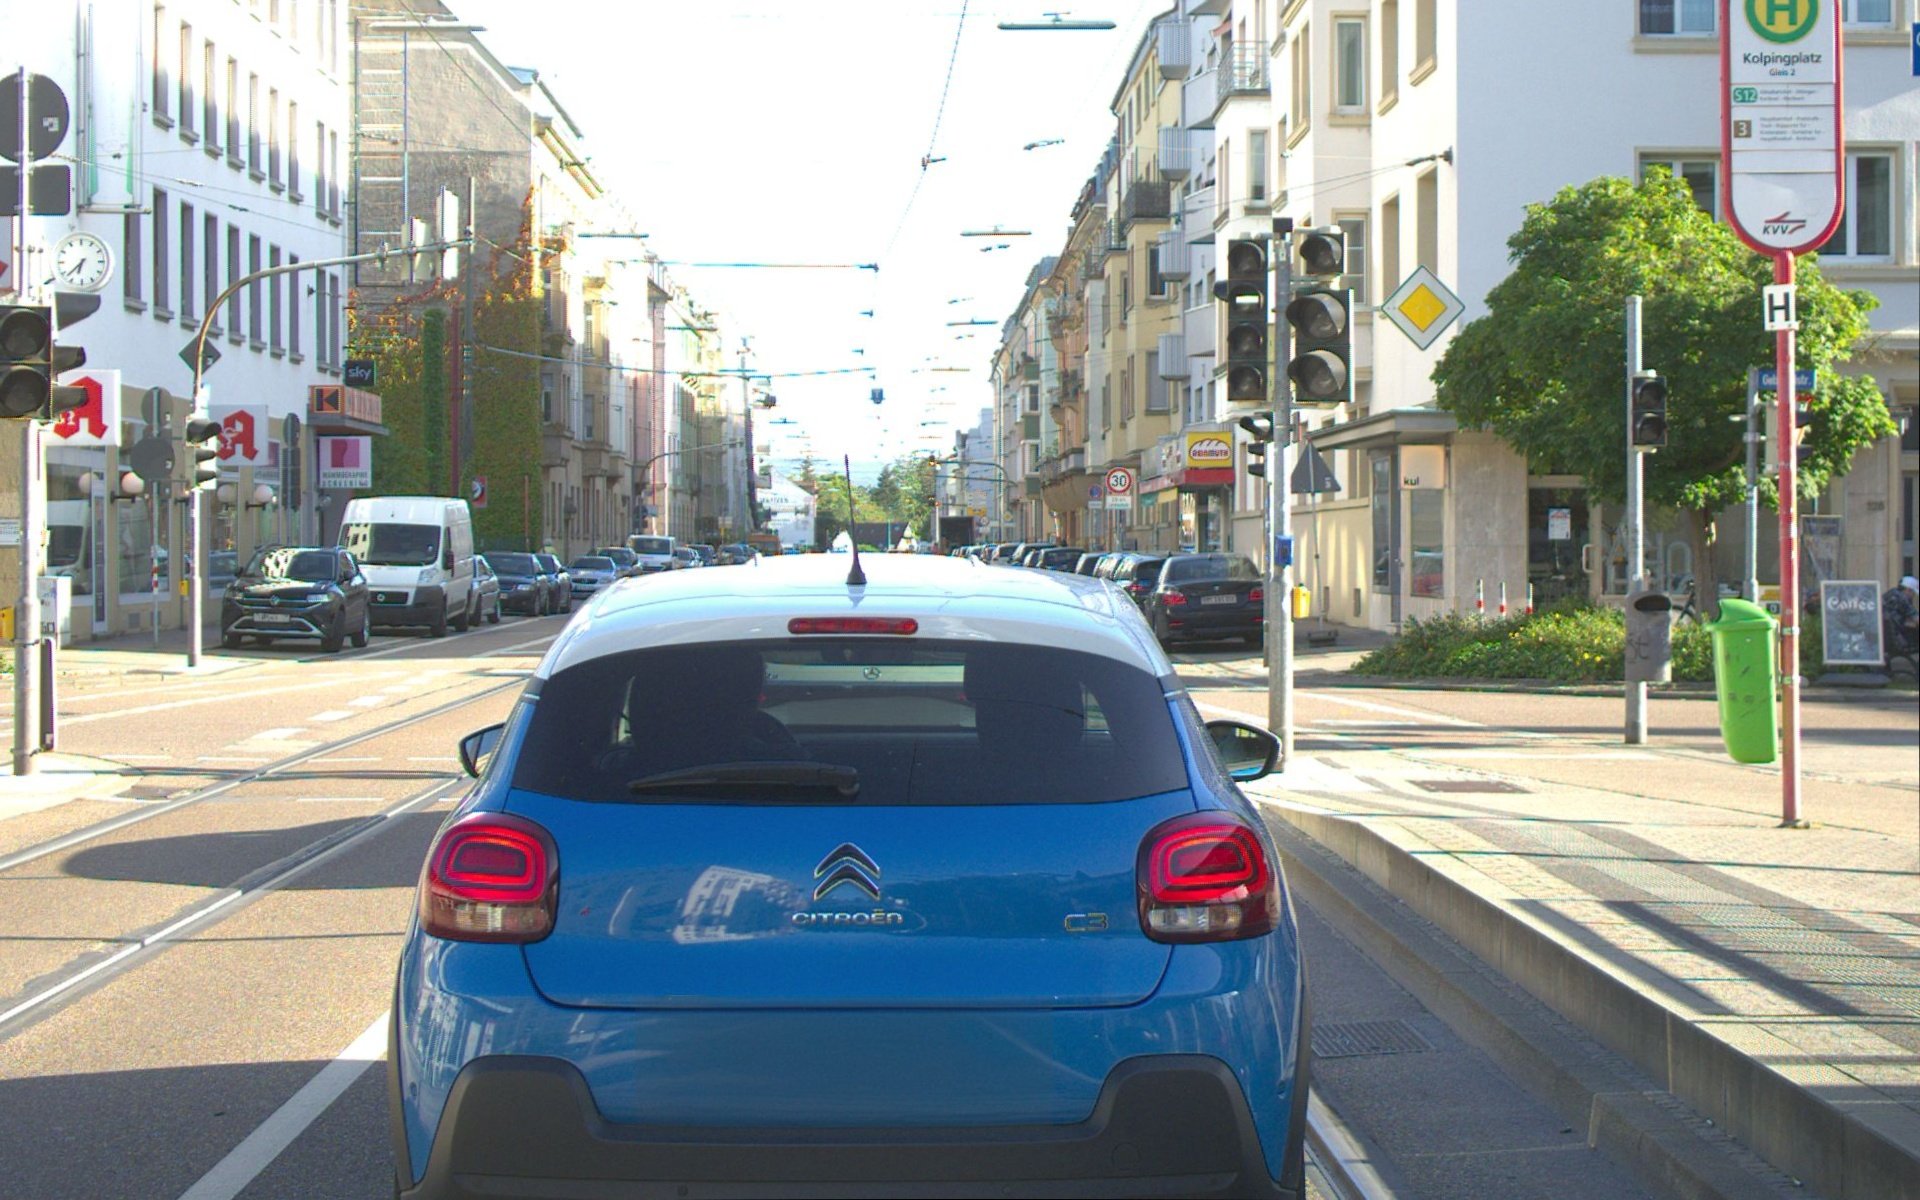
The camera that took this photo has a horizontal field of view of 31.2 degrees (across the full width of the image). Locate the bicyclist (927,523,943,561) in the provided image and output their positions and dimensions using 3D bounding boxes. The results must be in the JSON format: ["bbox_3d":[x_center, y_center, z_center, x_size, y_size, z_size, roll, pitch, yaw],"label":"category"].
[{"bbox_3d":[-1.327,-3.088,183.715,0.809,2.007,0.922,1,0,-2],"label":"bicyclist"}]

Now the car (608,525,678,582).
[{"bbox_3d":[-11.660,-1.704,126.647,2.006,2.007,4.689,1,0,1],"label":"car"}]

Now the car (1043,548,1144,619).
[{"bbox_3d":[2.797,-0.375,72.875,1.993,1.459,4.000,0,1,0],"label":"car"}]

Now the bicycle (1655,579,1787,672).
[{"bbox_3d":[9.414,0.314,42.567,1.568,1.117,0.300,1,0,11],"label":"bicycle"}]

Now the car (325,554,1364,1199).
[{"bbox_3d":[-0.224,0.658,7.692,1.728,1.477,3.827,1,1,-1],"label":"car"}]

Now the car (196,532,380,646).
[{"bbox_3d":[-10.173,-0.174,52.365,1.993,1.563,4.403,3,0,-2],"label":"car"}]

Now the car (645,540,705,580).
[{"bbox_3d":[-11.318,-1.579,136.770,1.955,1.547,3.938,1,0,2],"label":"car"}]

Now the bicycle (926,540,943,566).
[{"bbox_3d":[-1.357,-2.513,183.666,0.920,1.384,3.132,0,1,0],"label":"bicycle"}]

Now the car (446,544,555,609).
[{"bbox_3d":[-10.404,-0.535,78.092,1.993,1.393,4.157,1,0,-2],"label":"car"}]

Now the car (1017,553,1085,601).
[{"bbox_3d":[2.794,-0.721,106.339,1.993,1.459,4.000,0,1,0],"label":"car"}]

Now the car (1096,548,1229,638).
[{"bbox_3d":[3.341,-0.140,57.483,1.993,1.459,4.000,0,1,0],"label":"car"}]

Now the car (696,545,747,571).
[{"bbox_3d":[-10.668,-1.886,153.767,1.993,1.152,4.000,0,1,0],"label":"car"}]

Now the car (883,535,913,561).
[{"bbox_3d":[-4.234,-3.548,234.414,1.993,1.766,4.000,0,1,-1],"label":"car"}]

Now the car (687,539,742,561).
[{"bbox_3d":[-13.191,-2.681,184.775,1.994,1.152,4.513,0,1,9],"label":"car"}]

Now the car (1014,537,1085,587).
[{"bbox_3d":[2.634,-1.130,101.698,1.993,1.459,4.504,0,1,0],"label":"car"}]

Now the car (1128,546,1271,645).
[{"bbox_3d":[3.609,-0.094,52.409,1.909,1.459,4.000,0,1,0],"label":"car"}]

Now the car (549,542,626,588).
[{"bbox_3d":[-11.162,-1.055,103.219,1.993,1.320,3.923,1,0,-2],"label":"car"}]

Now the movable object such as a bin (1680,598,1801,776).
[{"bbox_3d":[3.512,0.385,15.487,0.449,0.783,0.489,0,1,2],"label":"movable object such as a bin"}]

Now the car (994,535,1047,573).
[{"bbox_3d":[2.326,-1.785,133.118,1.993,1.459,4.000,0,1,0],"label":"car"}]

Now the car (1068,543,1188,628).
[{"bbox_3d":[3.039,-0.289,62.882,1.993,1.496,4.000,0,1,0],"label":"car"}]

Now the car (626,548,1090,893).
[{"bbox_3d":[-0.476,0.486,17.311,1.984,1.459,4.816,1,1,-1],"label":"car"}]

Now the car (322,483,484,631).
[{"bbox_3d":[-10.085,-0.800,62.719,2.085,2.533,6.206,1,1,-2],"label":"car"}]

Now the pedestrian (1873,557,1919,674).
[{"bbox_3d":[10.792,0.171,39.011,0.741,1.311,0.627,0,1,23],"label":"pedestrian"}]

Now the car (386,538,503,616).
[{"bbox_3d":[-10.375,-0.469,69.405,1.888,1.491,3.562,1,0,-2],"label":"car"}]
